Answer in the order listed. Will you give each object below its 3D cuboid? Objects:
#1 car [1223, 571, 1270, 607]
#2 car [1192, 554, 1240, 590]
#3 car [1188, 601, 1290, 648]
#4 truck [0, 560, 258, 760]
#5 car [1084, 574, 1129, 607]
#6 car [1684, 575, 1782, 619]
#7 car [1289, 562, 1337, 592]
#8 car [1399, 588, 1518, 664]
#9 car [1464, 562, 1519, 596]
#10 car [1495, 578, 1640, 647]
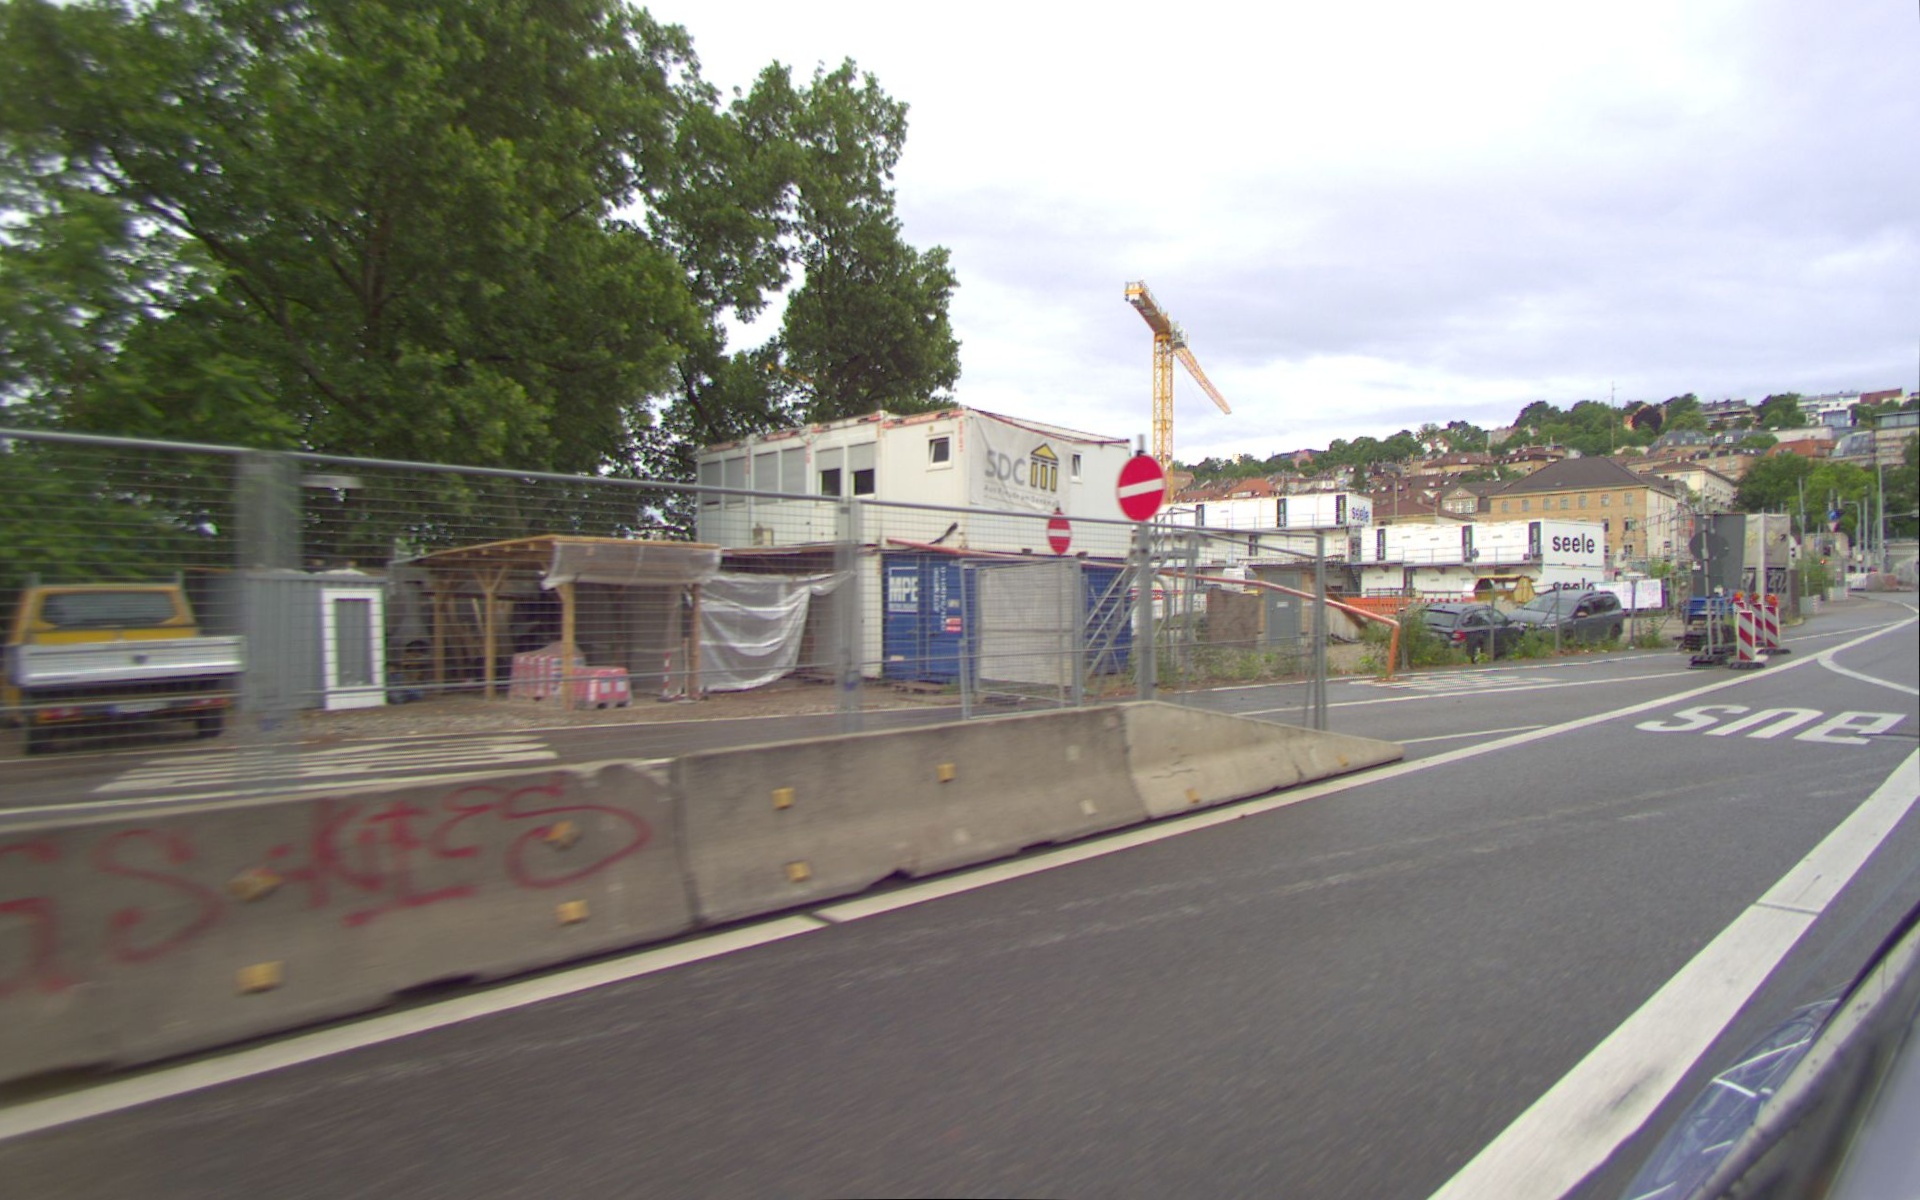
[{"bbox_3d":[21.149,-0.857,74.584,1.986,2.471,4.925,1,3,34],"label":"car"},{"bbox_3d":[19.275,-2.139,76.122,1.987,2.591,4.925,3,4,34],"label":"car"},{"bbox_3d":[9.322,0.783,33.654,1.710,1.322,3.942,-2,1,41],"label":"car"},{"bbox_3d":[-11.114,0.584,12.961,5.151,2.038,2.373,0,2,43],"label":"truck"},{"bbox_3d":[11.780,-0.812,81.810,2.106,2.412,4.413,-1,3,-13],"label":"car"},{"bbox_3d":[28.675,-0.133,37.501,4.334,1.459,1.836,-3,0,-38],"label":"car"},{"bbox_3d":[24.726,-1.613,70.760,1.987,1.910,4.925,3,4,34],"label":"car"},{"bbox_3d":[13.084,0.597,26.458,1.850,1.502,3.944,2,6,41],"label":"car"},{"bbox_3d":[32.113,-1.301,61.134,2.011,1.925,4.588,2,3,40],"label":"car"},{"bbox_3d":[17.821,0.306,29.651,4.329,1.668,1.930,-2,6,-34],"label":"car"}]
